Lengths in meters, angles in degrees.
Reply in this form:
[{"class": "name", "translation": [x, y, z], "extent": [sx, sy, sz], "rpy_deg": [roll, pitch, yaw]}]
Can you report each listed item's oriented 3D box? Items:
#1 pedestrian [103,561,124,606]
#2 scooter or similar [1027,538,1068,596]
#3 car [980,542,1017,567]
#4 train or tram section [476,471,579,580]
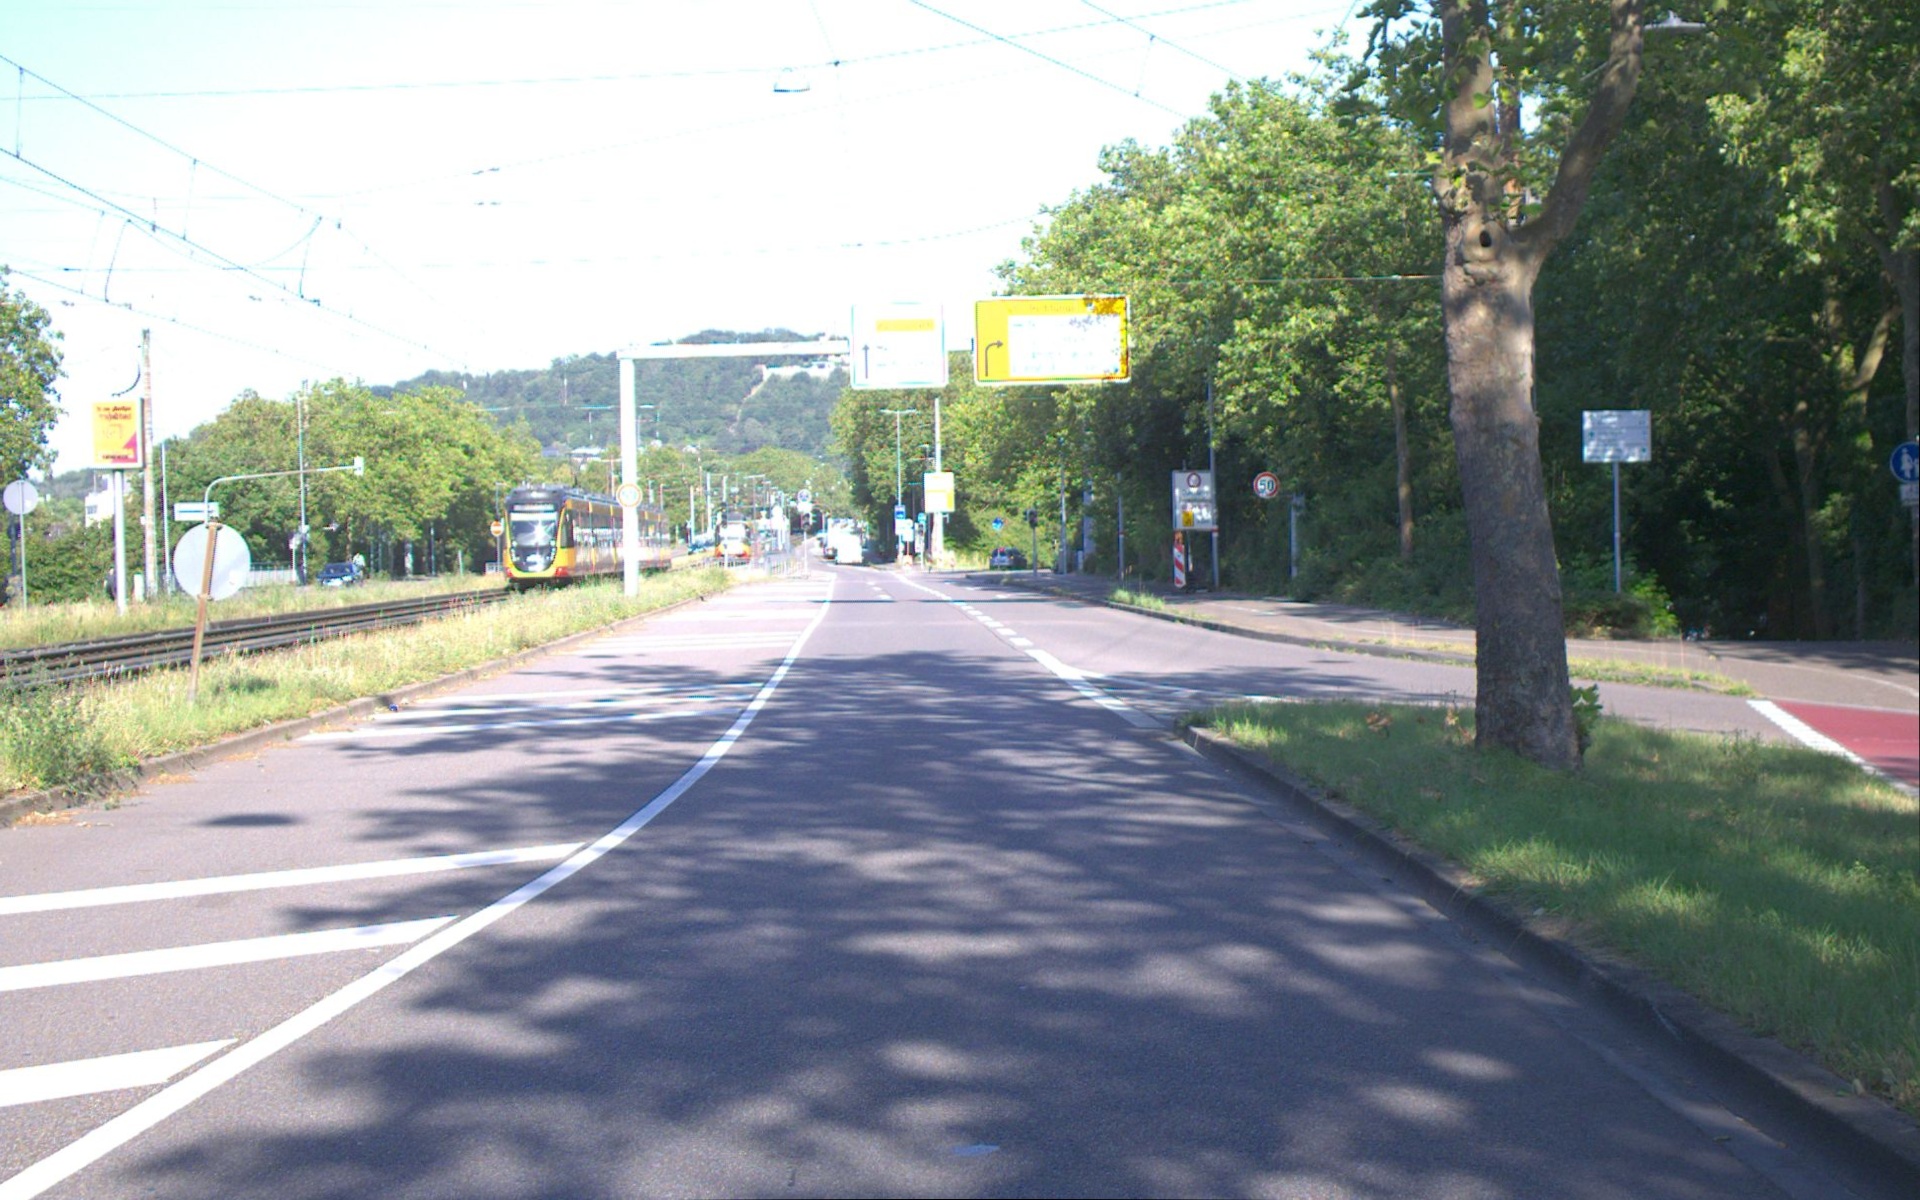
[{"class": "pedestrian", "translation": [-33.932, -0.659, 137.818], "extent": [0.540, 1.815, 0.650], "rpy_deg": [0, 1, 21]}, {"class": "scooter or similar", "translation": [4.122, -1.586, 162.222], "extent": [1.681, 2.706, 4.869], "rpy_deg": [0, 1, -1]}, {"class": "car", "translation": [2.448, -2.873, 215.823], "extent": [2.086, 1.560, 3.955], "rpy_deg": [0, 1, 4]}, {"class": "train or tram section", "translation": [-16.097, -2.734, 128.818], "extent": [2.804, 3.889, 12.334], "rpy_deg": [0, 1, -2]}]
